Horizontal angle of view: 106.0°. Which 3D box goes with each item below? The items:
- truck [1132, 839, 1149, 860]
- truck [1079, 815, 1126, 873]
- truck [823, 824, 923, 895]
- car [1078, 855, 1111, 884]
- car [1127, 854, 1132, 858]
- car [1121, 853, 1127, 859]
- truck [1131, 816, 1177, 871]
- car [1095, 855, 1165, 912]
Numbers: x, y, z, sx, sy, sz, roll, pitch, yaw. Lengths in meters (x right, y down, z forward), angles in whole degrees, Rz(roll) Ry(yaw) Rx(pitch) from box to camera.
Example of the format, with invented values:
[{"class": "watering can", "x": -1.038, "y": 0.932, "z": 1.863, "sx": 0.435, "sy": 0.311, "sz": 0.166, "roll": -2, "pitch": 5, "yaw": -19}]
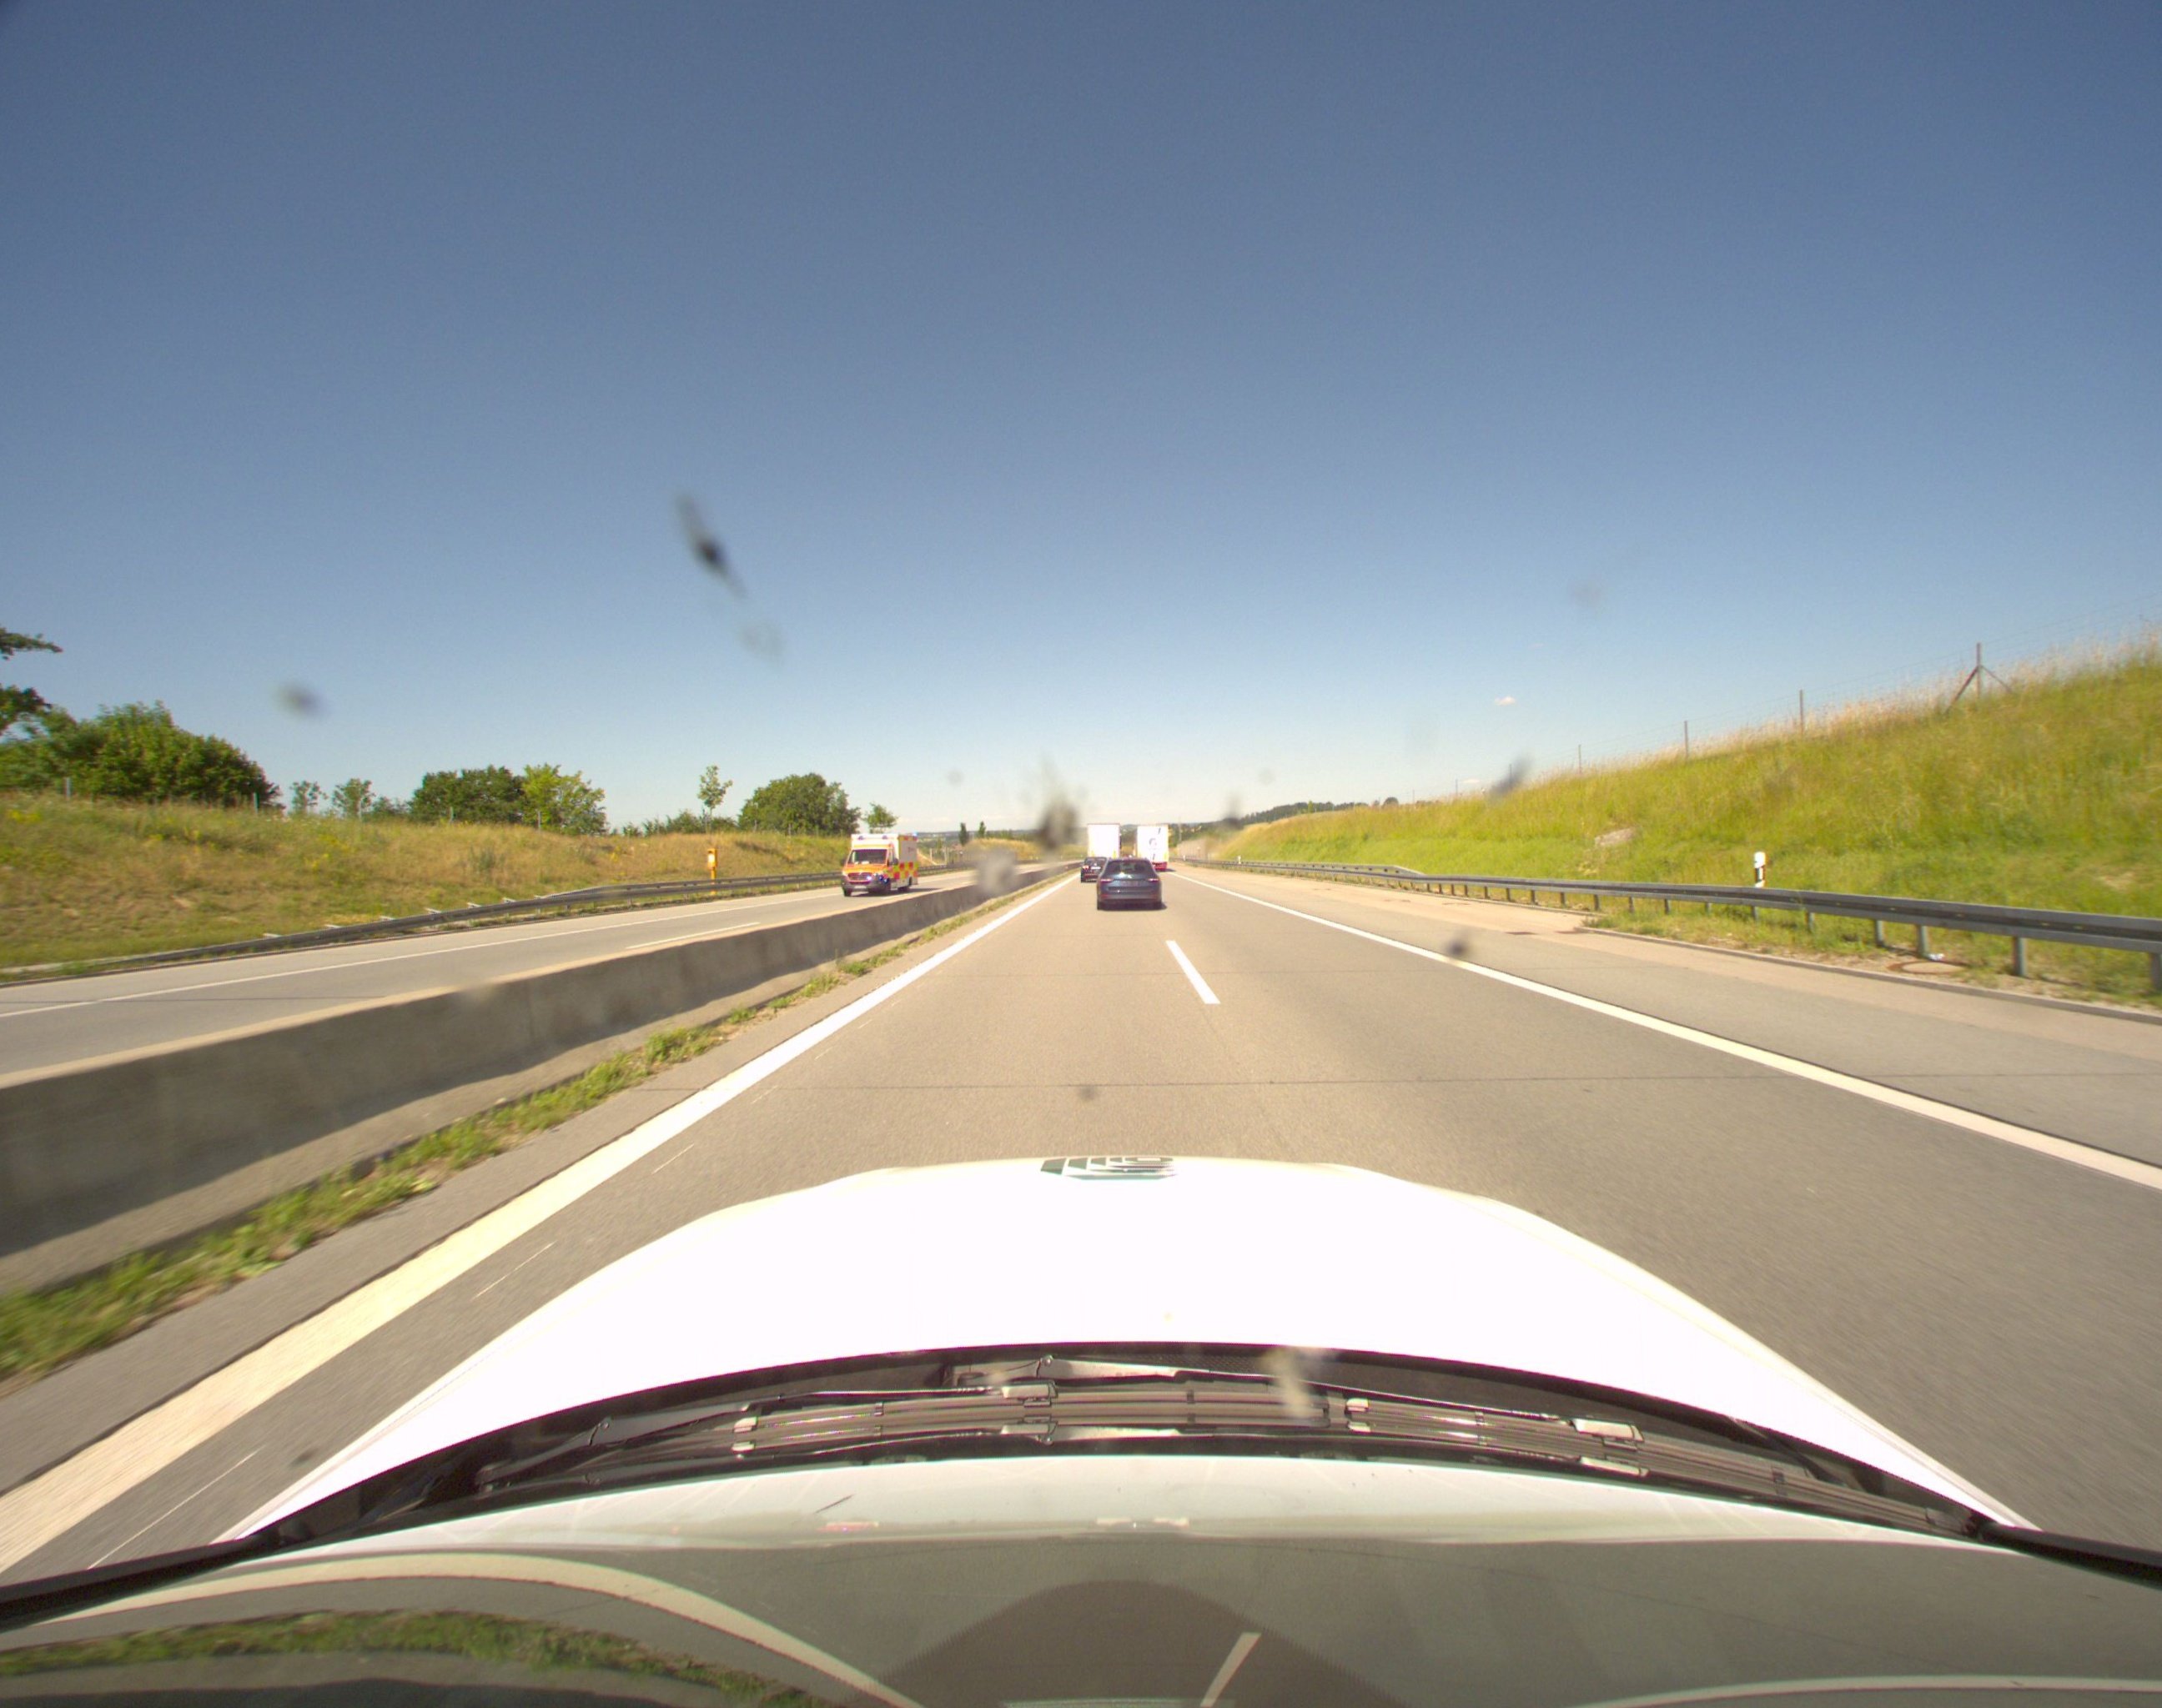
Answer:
[{"class": "truck", "x": 13.746, "y": -1.041, "z": 188.236, "sx": 3.588, "sy": 4.381, "sz": 11.246, "roll": -3, "pitch": 0, "yaw": 4}, {"class": "truck", "x": 2.007, "y": -0.826, "z": 70.218, "sx": 3.196, "sy": 4.381, "sz": 11.247, "roll": -3, "pitch": 0, "yaw": 4}, {"class": "truck", "x": -9.662, "y": 0.240, "z": 38.584, "sx": 2.764, "sy": 3.021, "sz": 6.795, "roll": -1, "pitch": 0, "yaw": 2}, {"class": "car", "x": 0.746, "y": 0.835, "z": 46.209, "sx": 1.694, "sy": 1.441, "sz": 4.000, "roll": -3, "pitch": 0, "yaw": 0}, {"class": "car", "x": 15.263, "y": 0.588, "z": 256.565, "sx": 1.693, "sy": 1.441, "sz": 4.003, "roll": -1, "pitch": 0, "yaw": 3}, {"class": "car", "x": 11.262, "y": 0.545, "z": 212.873, "sx": 1.693, "sy": 1.441, "sz": 4.003, "roll": -1, "pitch": 0, "yaw": 3}, {"class": "truck", "x": 6.512, "y": -0.891, "z": 73.561, "sx": 3.588, "sy": 4.381, "sz": 11.246, "roll": -3, "pitch": 0, "yaw": 4}, {"class": "car", "x": 1.327, "y": 0.775, "z": 23.266, "sx": 1.771, "sy": 1.441, "sz": 3.788, "roll": -1, "pitch": 0, "yaw": 0}]
